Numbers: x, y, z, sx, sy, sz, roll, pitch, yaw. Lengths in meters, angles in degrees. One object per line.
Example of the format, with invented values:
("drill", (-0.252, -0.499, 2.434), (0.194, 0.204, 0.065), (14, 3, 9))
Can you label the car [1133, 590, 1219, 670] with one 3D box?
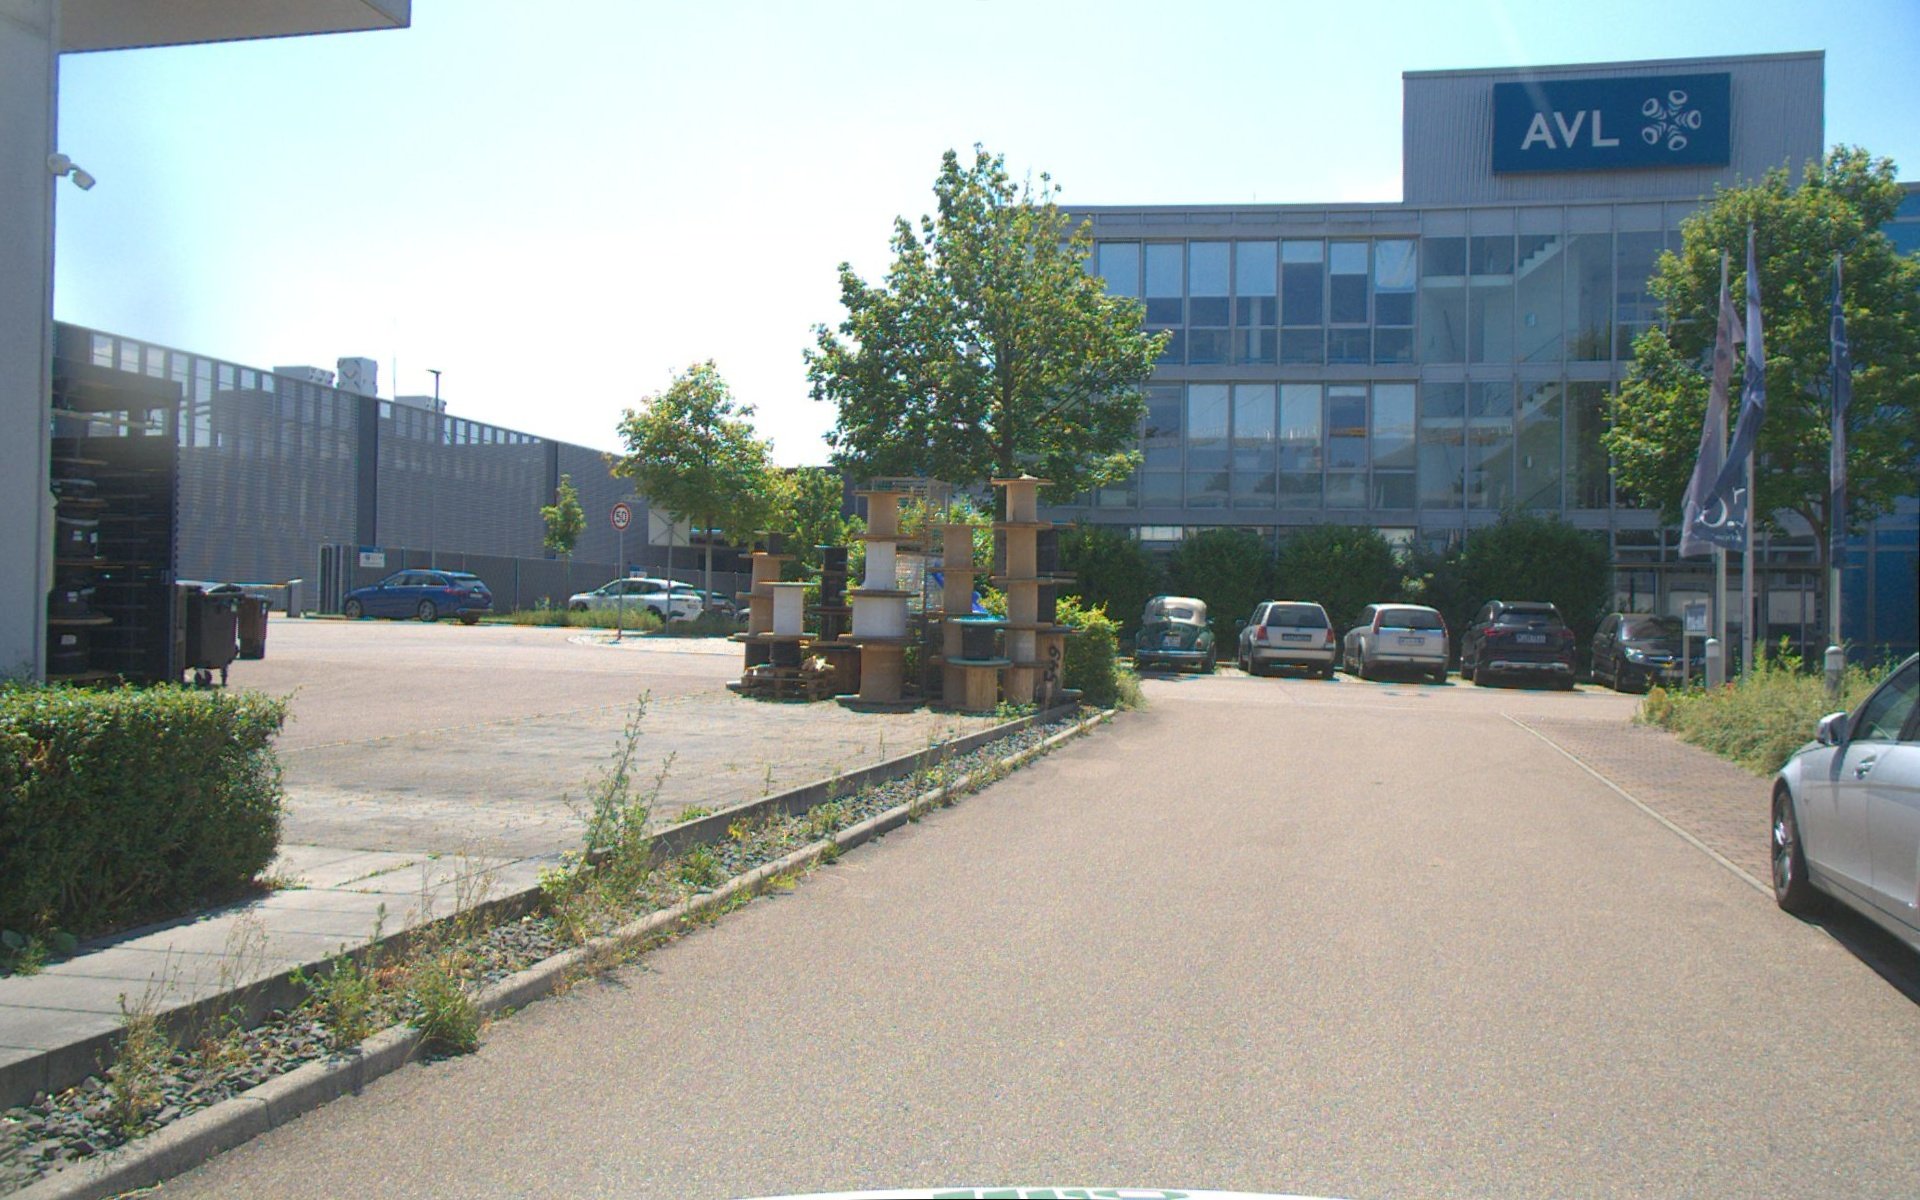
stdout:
("car", (4.492, 0.571, 34.094), (1.509, 1.474, 3.657), (2, 1, 11))

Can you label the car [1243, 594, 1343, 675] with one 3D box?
("car", (6.765, 0.666, 33.875), (1.695, 1.474, 3.657), (2, 1, 7))

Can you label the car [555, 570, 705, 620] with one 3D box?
("car", (-11.179, -0.191, 56.028), (4.745, 1.517, 1.998), (2, 1, 27))

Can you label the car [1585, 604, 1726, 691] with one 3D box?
("car", (13.612, 0.876, 32.608), (1.732, 1.507, 4.262), (1, 1, 11))

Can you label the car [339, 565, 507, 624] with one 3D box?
("car", (-15.270, -0.183, 47.032), (4.413, 1.517, 1.998), (2, 1, 27))

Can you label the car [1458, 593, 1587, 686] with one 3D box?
("car", (11.172, 0.734, 33.095), (1.886, 1.638, 3.990), (2, 1, 11))

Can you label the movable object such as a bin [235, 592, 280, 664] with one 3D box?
("movable object such as a bin", (-10.468, 0.418, 24.654), (0.568, 1.054, 0.423), (1, 0, -21))

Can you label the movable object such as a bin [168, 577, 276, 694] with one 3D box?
("movable object such as a bin", (-8.920, 0.417, 20.013), (0.794, 1.368, 0.884), (1, 0, 18))

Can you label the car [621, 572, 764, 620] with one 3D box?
("car", (-9.494, -0.169, 58.597), (4.745, 1.517, 1.998), (2, 1, 27))

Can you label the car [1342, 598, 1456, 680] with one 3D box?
("car", (8.927, 0.752, 33.892), (1.728, 1.474, 3.657), (2, 1, 7))

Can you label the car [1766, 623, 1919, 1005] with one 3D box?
("car", (4.657, 0.830, 6.667), (1.761, 1.422, 4.422), (1, 0, 16))
